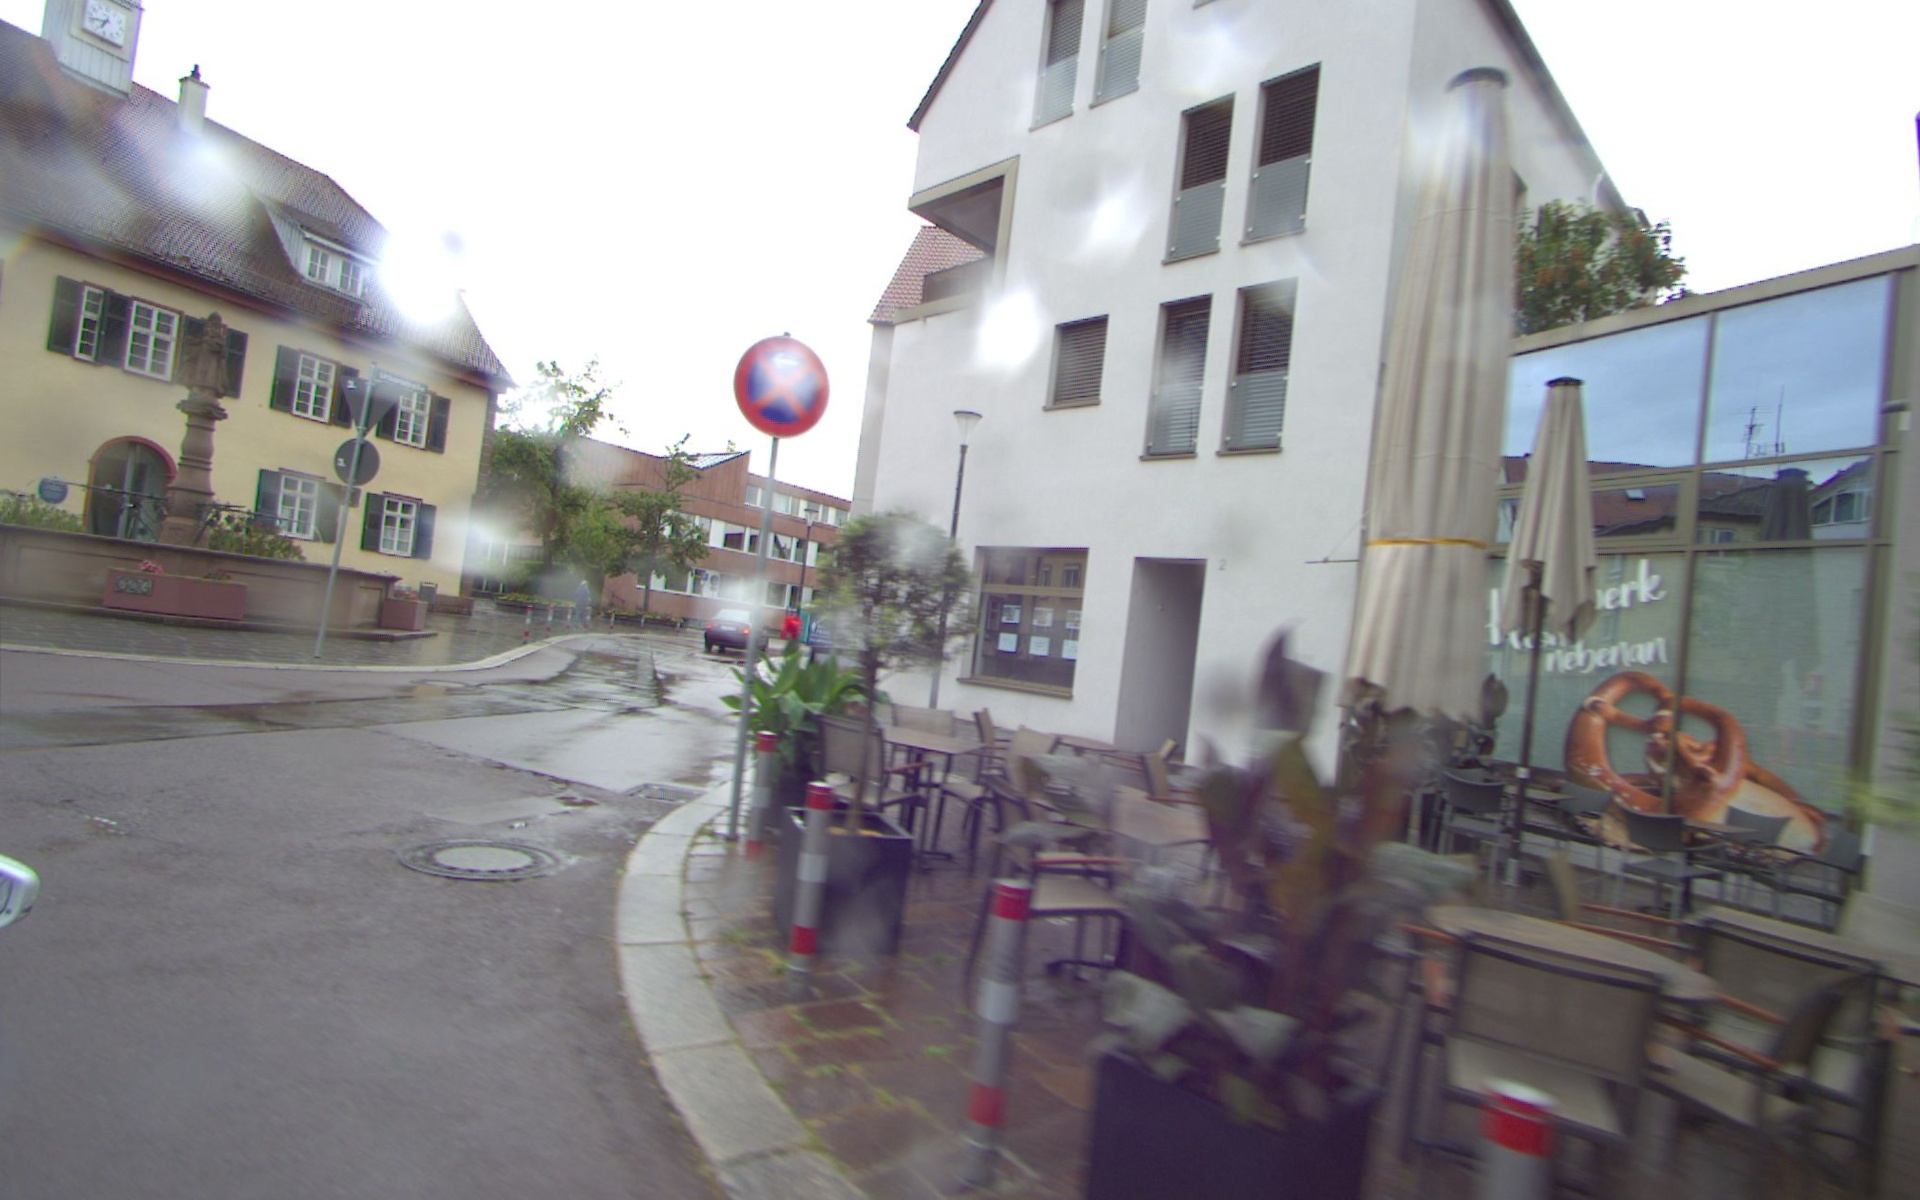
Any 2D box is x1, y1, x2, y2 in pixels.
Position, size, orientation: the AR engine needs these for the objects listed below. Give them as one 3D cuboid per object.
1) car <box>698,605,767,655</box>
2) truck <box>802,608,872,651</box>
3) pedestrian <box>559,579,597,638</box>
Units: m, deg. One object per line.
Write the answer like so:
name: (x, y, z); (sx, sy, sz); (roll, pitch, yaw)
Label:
car: (-7.431, 0.977, 33.113); (1.643, 1.379, 3.605); (7, -2, -6)
truck: (-7.314, 1.749, 59.666); (3.487, 2.037, 1.863); (6, -1, 29)
pedestrian: (-12.683, 0.292, 33.391); (0.778, 1.843, 0.687); (7, -1, 1)
